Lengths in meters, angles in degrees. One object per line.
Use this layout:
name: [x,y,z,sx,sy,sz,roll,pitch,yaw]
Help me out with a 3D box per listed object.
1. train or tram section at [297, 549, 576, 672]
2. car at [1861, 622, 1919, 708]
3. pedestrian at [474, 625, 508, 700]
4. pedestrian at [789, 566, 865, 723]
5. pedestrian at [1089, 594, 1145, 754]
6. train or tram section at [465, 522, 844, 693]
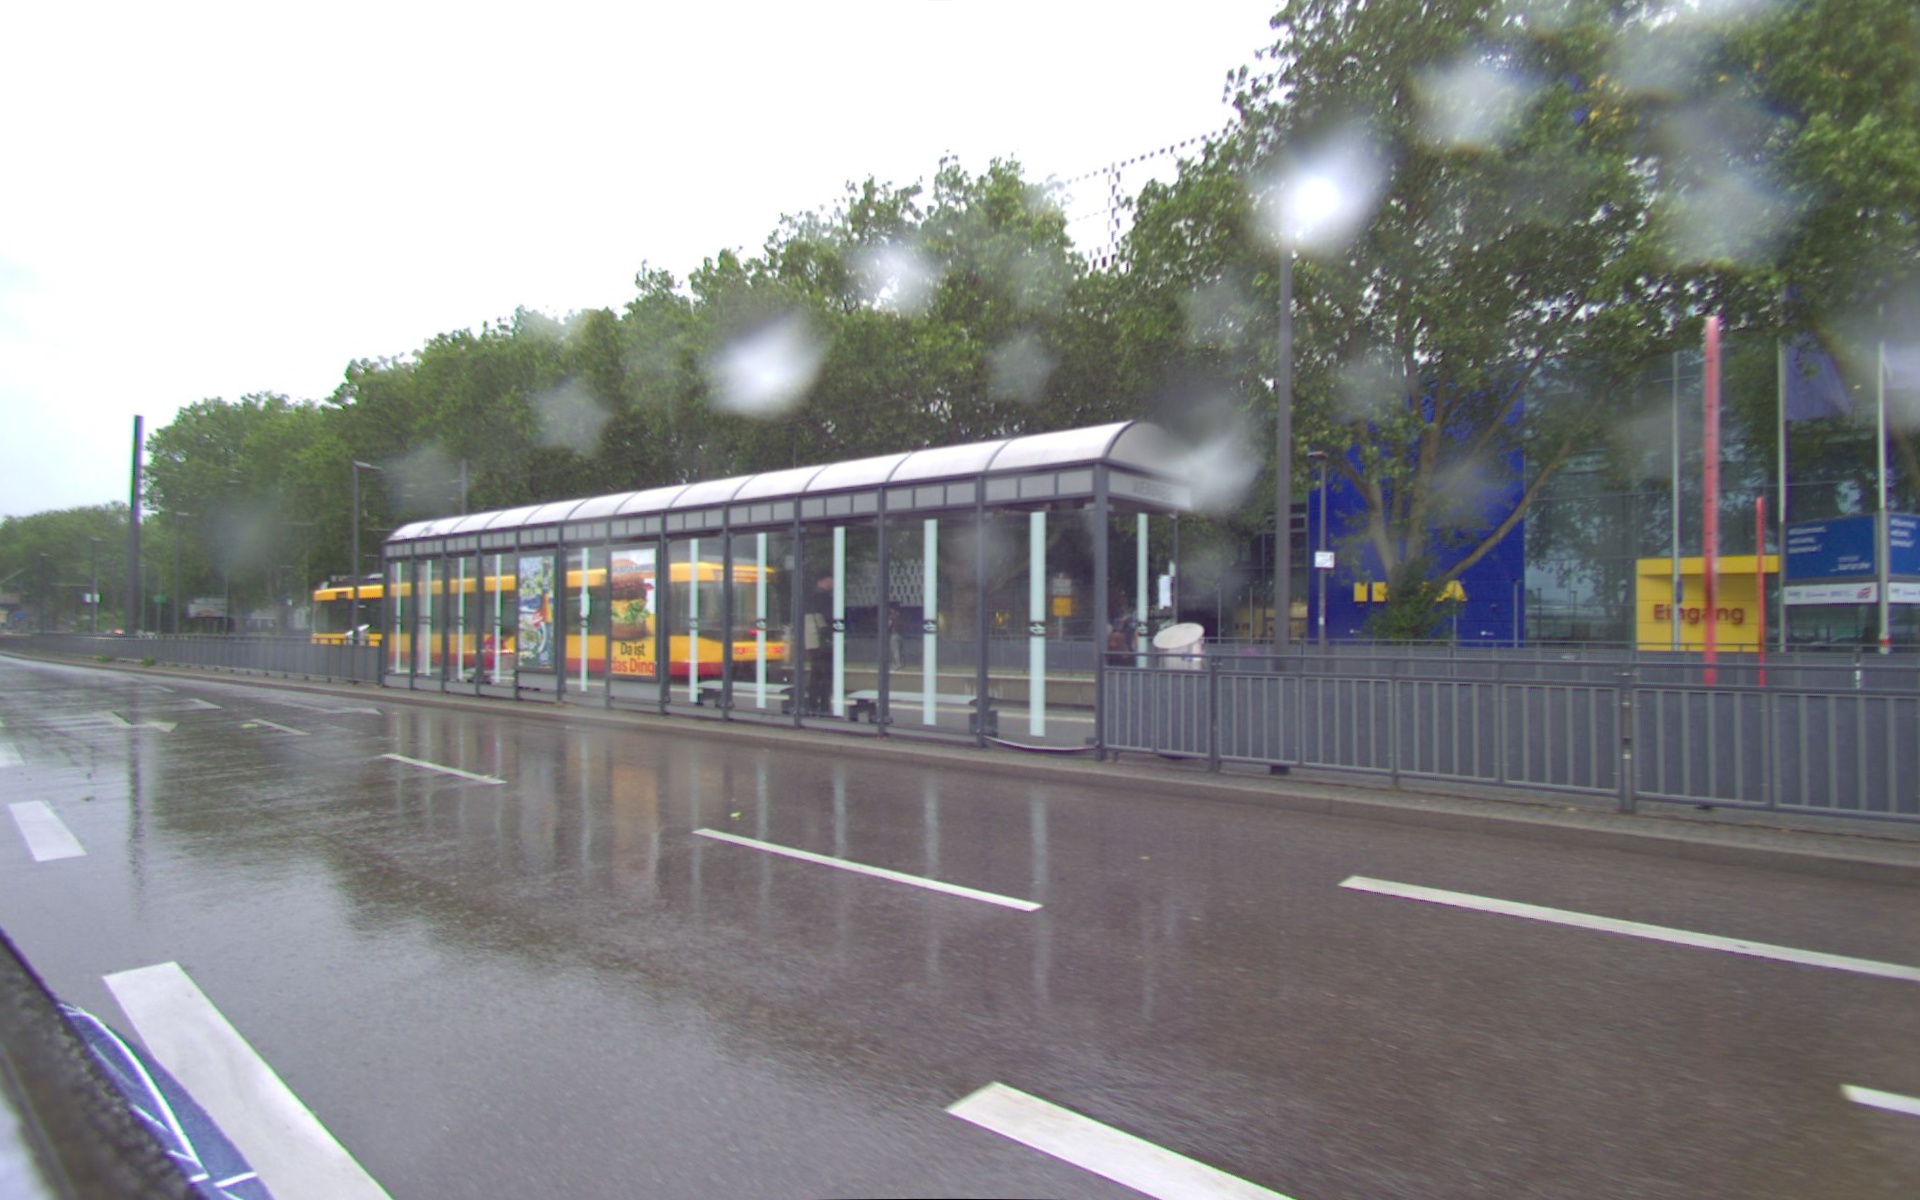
train or tram section: [-20.168,0.382,38.007,15.560,3.827,3.703,-1,0,40]
car: [18.322,1.146,17.845,3.421,1.475,1.567,-1,0,34]
pedestrian: [-8.031,1.064,17.331,0.451,1.245,0.468,0,0,-35]
pedestrian: [-1.659,0.533,12.627,0.646,1.885,0.774,-1,0,-33]
pedestrian: [1.524,0.701,9.799,0.317,1.504,0.416,-1,1,-44]
train or tram section: [-9.192,0.213,28.658,13.245,3.868,3.703,-1,0,40]
